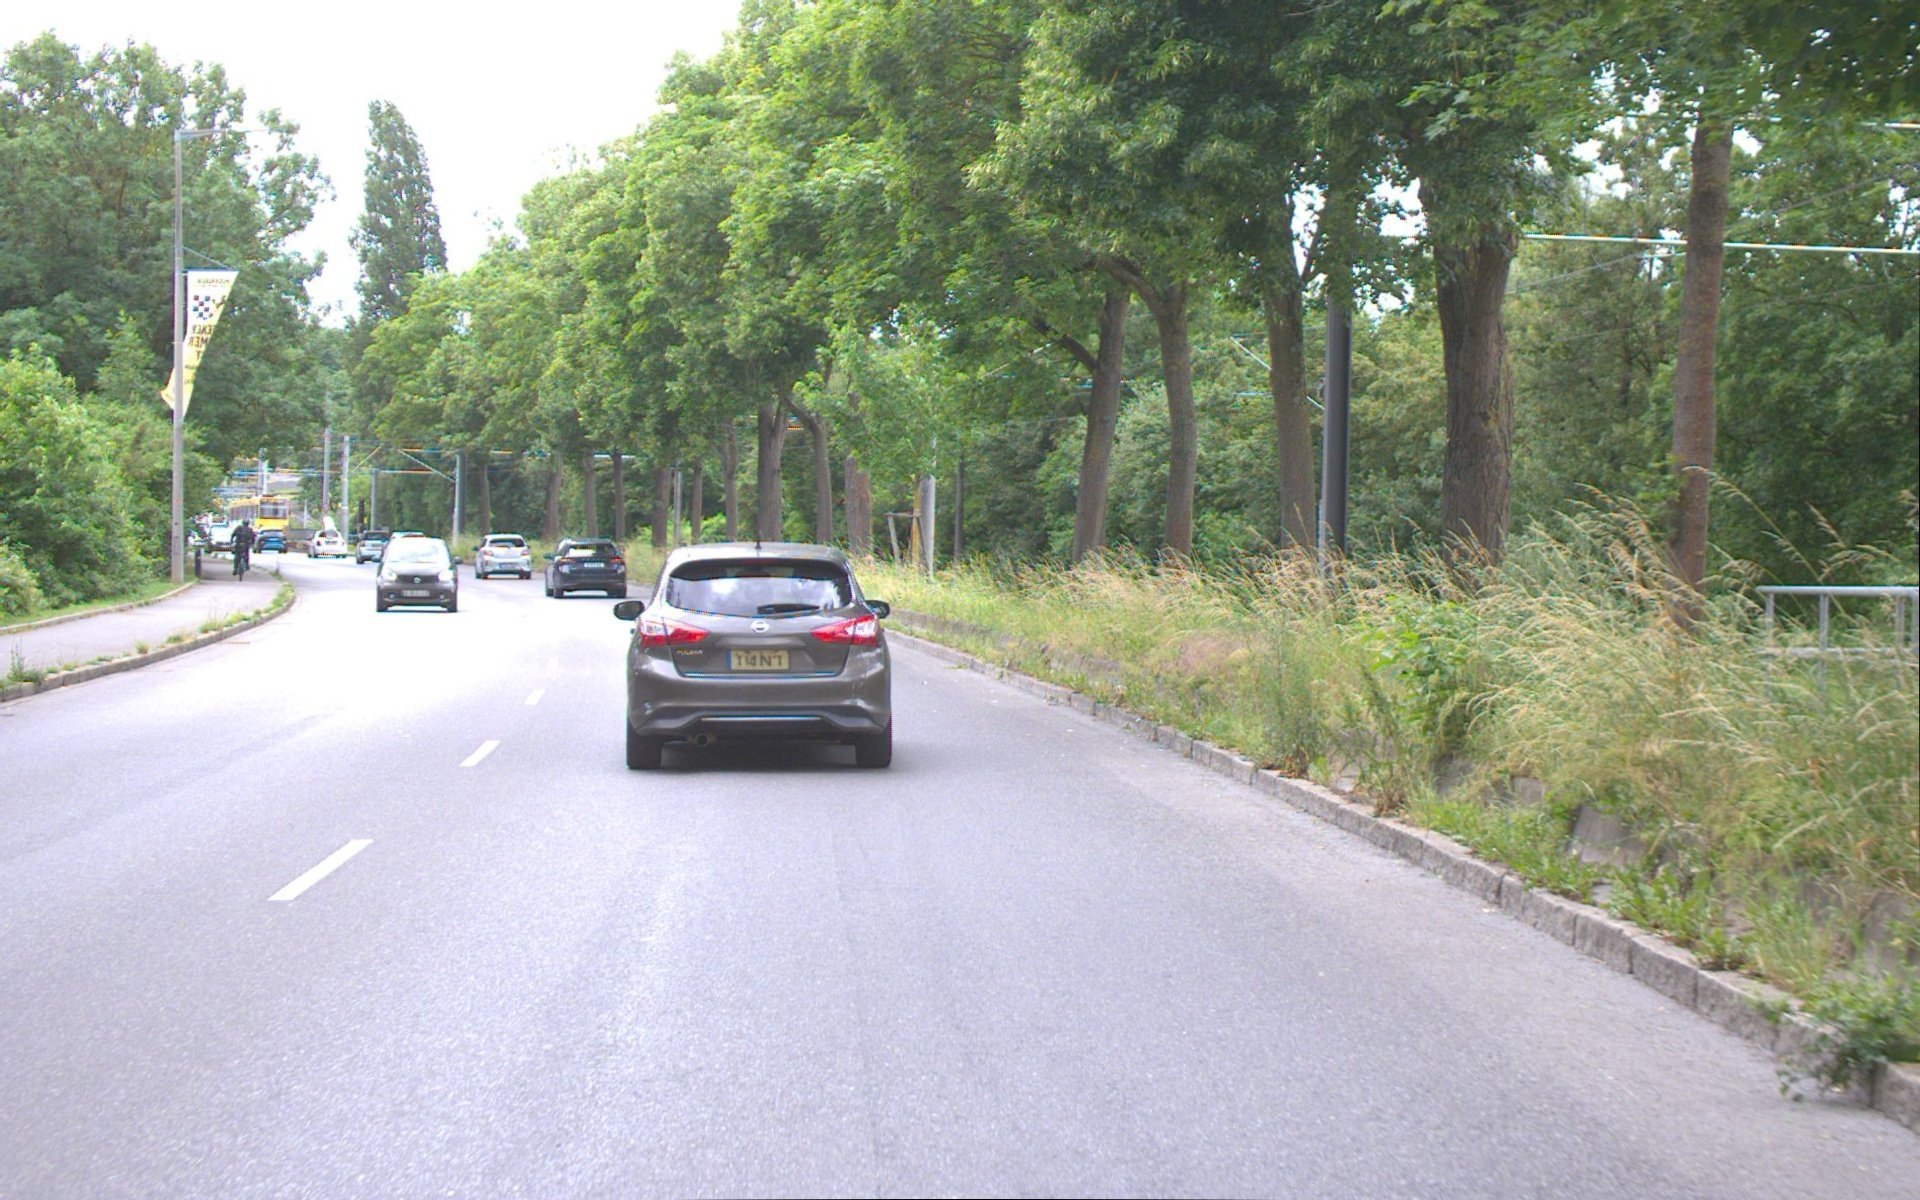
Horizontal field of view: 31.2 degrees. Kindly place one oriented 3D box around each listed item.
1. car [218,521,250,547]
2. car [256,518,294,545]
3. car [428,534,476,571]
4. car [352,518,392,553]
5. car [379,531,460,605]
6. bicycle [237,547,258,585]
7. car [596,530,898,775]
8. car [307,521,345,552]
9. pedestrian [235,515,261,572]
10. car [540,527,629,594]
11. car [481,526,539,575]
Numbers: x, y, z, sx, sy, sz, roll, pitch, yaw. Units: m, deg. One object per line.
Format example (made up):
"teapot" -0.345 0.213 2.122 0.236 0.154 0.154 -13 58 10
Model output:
"car" -42.061 -3.837 199.228 1.748 1.459 3.921 2 1 -11
"car" -41.249 -4.142 206.898 1.775 1.467 4.002 3 2 -17
"car" -21.947 -2.053 148.389 1.775 1.467 4.002 2 2 -12
"car" -27.346 -3.012 159.820 1.775 1.467 4.002 2 2 -11
"car" -11.302 -0.685 71.990 1.595 1.500 3.029 0 1 -7
"bicycle" -20.150 -0.968 97.288 0.488 1.027 1.125 3 2 -10
"car" -1.580 0.300 24.165 1.815 1.503 4.001 0 2 -8
"car" -33.329 -3.335 180.709 1.775 1.467 4.002 3 2 -12
"pedestrian" -20.144 -1.595 97.299 0.617 1.566 0.849 3 1 -10
"car" -9.303 -0.999 84.911 1.775 1.467 4.002 3 2 -11
"car" -14.945 -1.669 114.272 1.775 1.467 4.001 3 2 -7
